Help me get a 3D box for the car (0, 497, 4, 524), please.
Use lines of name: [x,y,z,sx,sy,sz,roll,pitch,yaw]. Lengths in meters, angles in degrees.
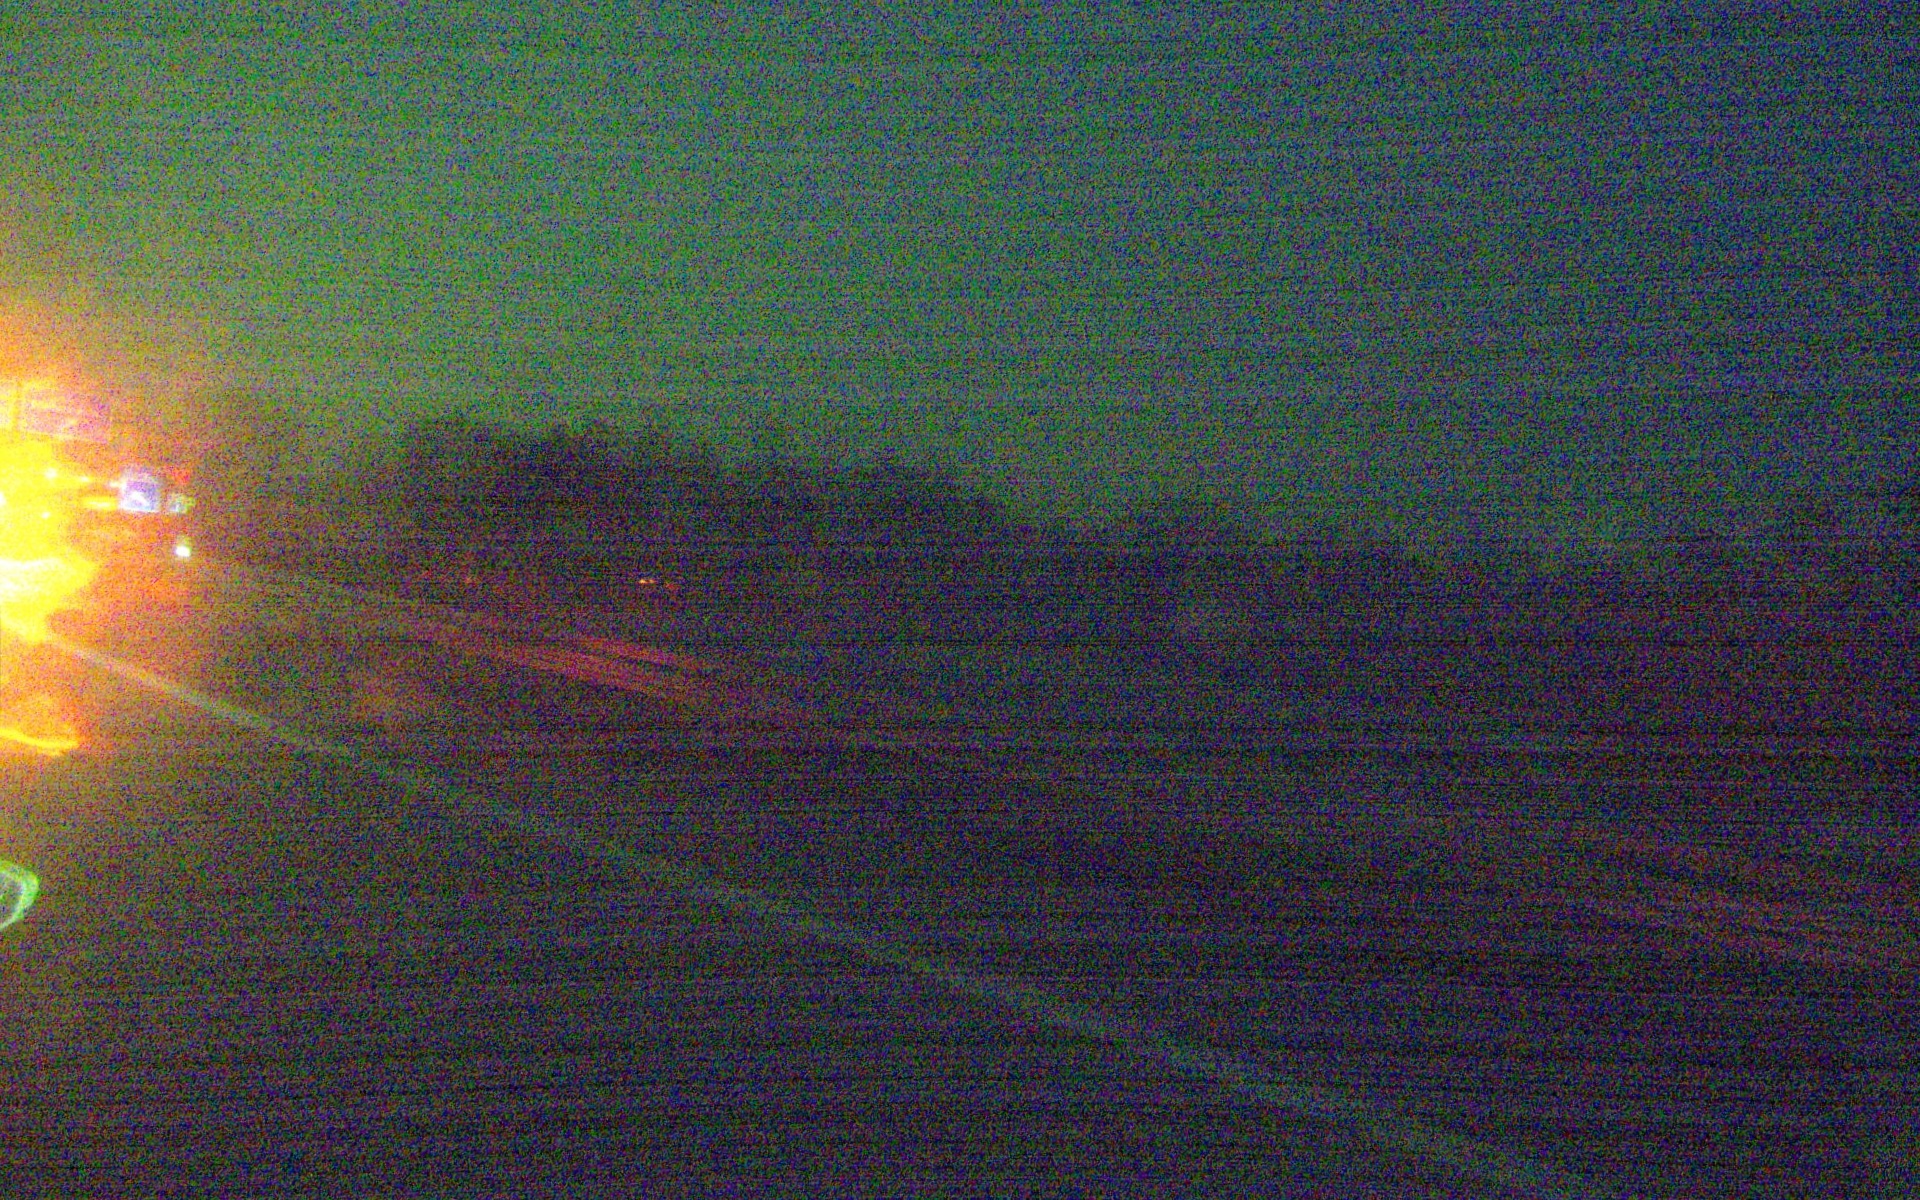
car: [-73.719,-6.909,75.861,1.888,2.022,4.001,7,-1,-40]
